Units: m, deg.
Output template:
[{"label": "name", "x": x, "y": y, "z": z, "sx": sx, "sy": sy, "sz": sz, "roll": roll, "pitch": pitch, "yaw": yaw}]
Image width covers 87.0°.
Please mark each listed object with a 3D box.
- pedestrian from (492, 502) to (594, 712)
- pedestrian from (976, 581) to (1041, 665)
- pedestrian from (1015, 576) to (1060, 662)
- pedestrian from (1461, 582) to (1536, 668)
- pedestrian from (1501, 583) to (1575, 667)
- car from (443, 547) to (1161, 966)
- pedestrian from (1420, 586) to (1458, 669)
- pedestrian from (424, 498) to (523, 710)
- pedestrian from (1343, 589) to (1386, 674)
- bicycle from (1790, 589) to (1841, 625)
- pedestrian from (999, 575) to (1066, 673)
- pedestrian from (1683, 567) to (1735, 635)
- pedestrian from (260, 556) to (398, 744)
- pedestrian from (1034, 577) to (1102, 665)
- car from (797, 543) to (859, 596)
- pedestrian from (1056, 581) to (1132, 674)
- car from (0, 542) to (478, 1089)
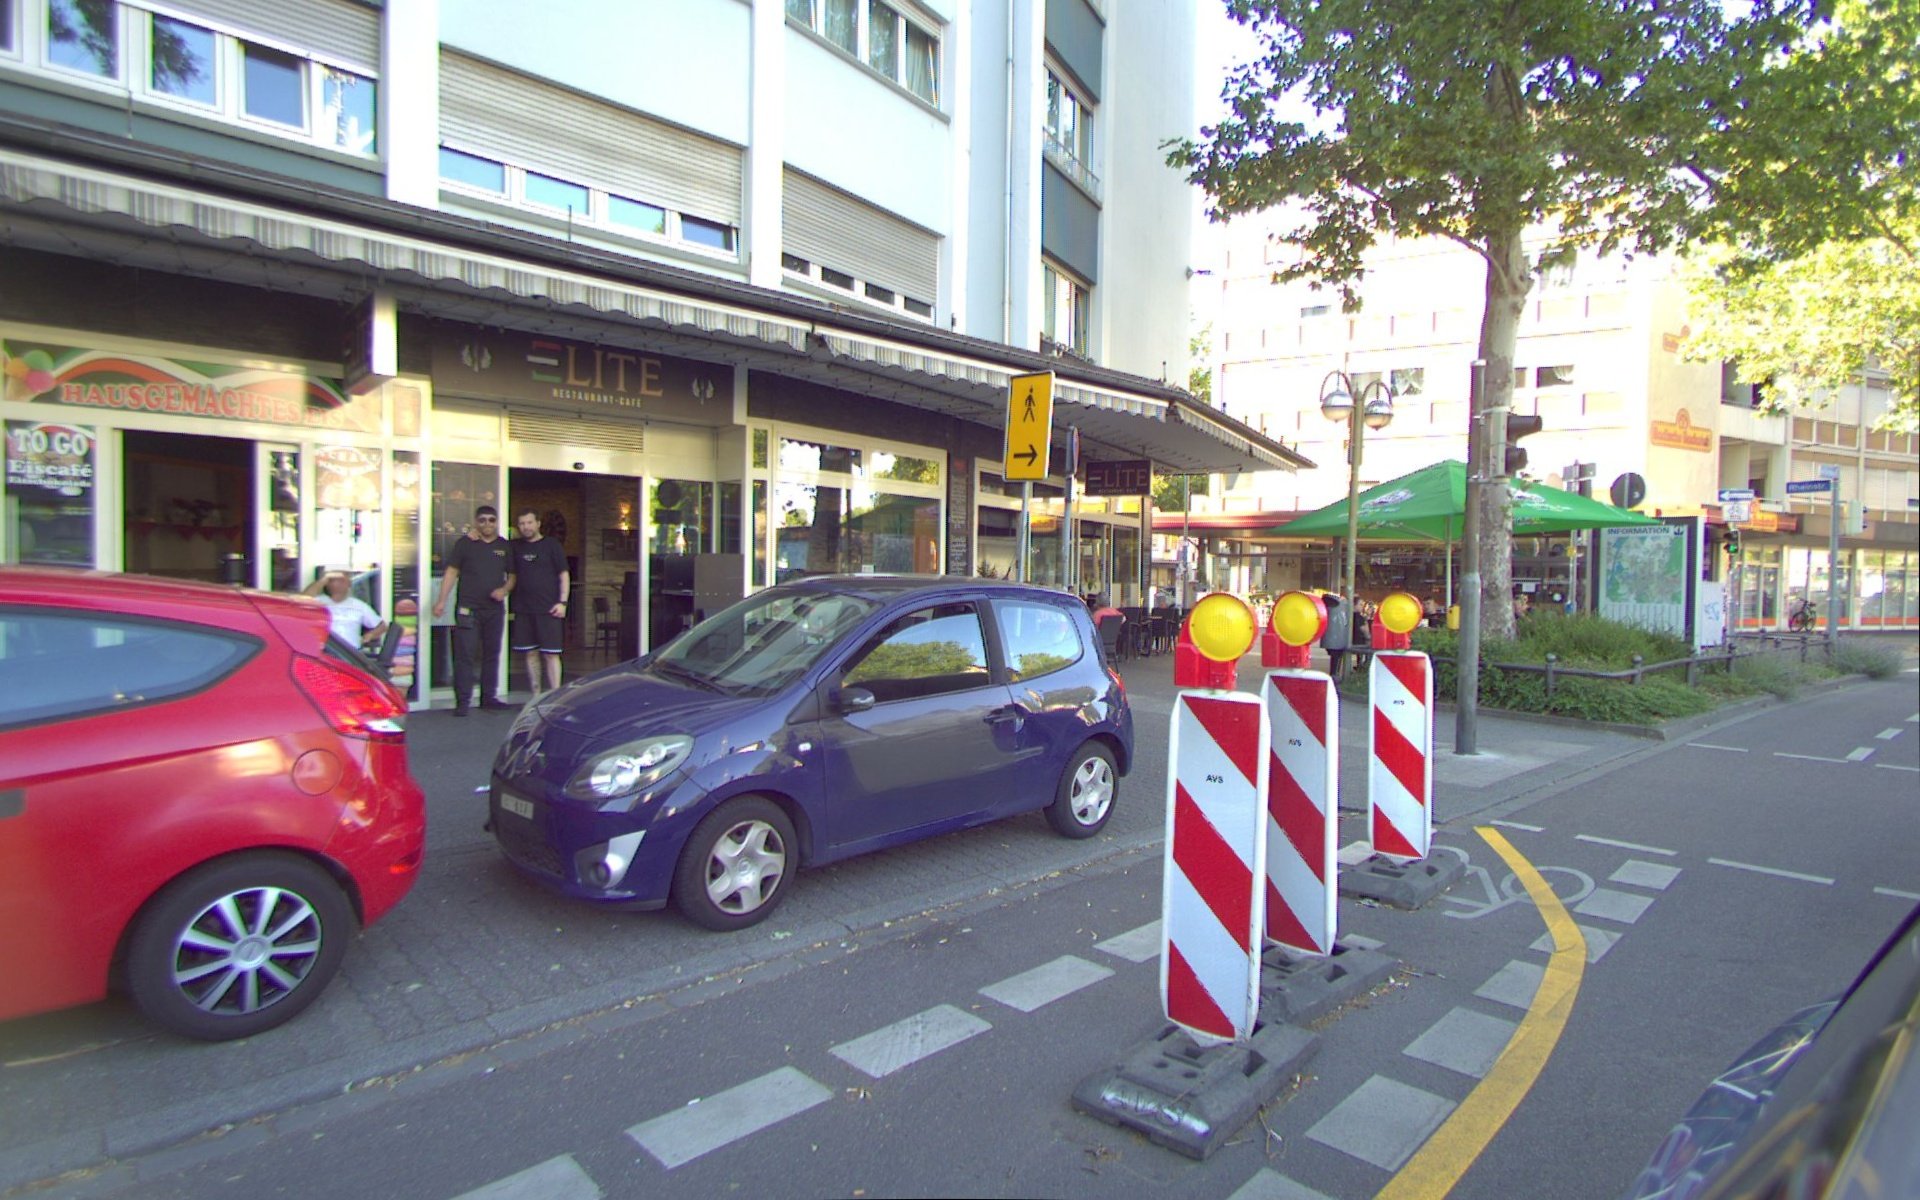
[{"label": "pedestrian", "x": -3.714, "y": 0.042, "z": 9.008, "sx": 0.635, "sy": 1.780, "sz": 0.611, "roll": 1, "pitch": 3, "yaw": -40}, {"label": "pedestrian", "x": 0.703, "y": 0.320, "z": 14.658, "sx": 0.710, "sy": 1.144, "sz": 0.645, "roll": 3, "pitch": 1, "yaw": 25}, {"label": "pedestrian", "x": 1.165, "y": 0.273, "z": 15.280, "sx": 0.541, "sy": 1.259, "sz": 0.521, "roll": 2, "pitch": 1, "yaw": -7}, {"label": "pedestrian", "x": 8.418, "y": 0.371, "z": 15.824, "sx": 0.752, "sy": 1.301, "sz": 0.721, "roll": 0, "pitch": 1, "yaw": -27}, {"label": "pedestrian", "x": 9.268, "y": 0.381, "z": 16.226, "sx": 0.753, "sy": 1.301, "sz": 0.720, "roll": 0, "pitch": 1, "yaw": -28}, {"label": "car", "x": -0.643, "y": 0.531, "z": 5.500, "sx": 3.545, "sy": 1.484, "sz": 1.621, "roll": 0, "pitch": 4, "yaw": -44}, {"label": "pedestrian", "x": 7.455, "y": 0.418, "z": 15.773, "sx": 0.427, "sy": 1.234, "sz": 0.465, "roll": 3, "pitch": 2, "yaw": 20}, {"label": "pedestrian", "x": -4.235, "y": 0.017, "z": 8.804, "sx": 0.587, "sy": 1.756, "sz": 0.589, "roll": 1, "pitch": 3, "yaw": -42}, {"label": "pedestrian", "x": 5.974, "y": 0.451, "z": 14.962, "sx": 0.460, "sy": 1.235, "sz": 0.432, "roll": 1, "pitch": 0, "yaw": 5}, {"label": "bicycle", "x": 28.124, "y": 0.216, "z": 33.257, "sx": 1.933, "sy": 1.157, "sz": 0.530, "roll": 0, "pitch": 1, "yaw": -26}, {"label": "pedestrian", "x": 0.992, "y": 0.314, "z": 13.754, "sx": 0.644, "sy": 1.267, "sz": 0.711, "roll": 3, "pitch": 1, "yaw": 25}, {"label": "pedestrian", "x": 20.140, "y": 0.020, "z": 27.216, "sx": 0.883, "sy": 1.779, "sz": 0.751, "roll": 0, "pitch": 1, "yaw": -24}, {"label": "pedestrian", "x": -4.823, "y": 0.320, "z": 7.713, "sx": 0.765, "sy": 1.247, "sz": 1.207, "roll": -1, "pitch": 5, "yaw": -38}, {"label": "pedestrian", "x": 1.587, "y": 0.297, "z": 14.920, "sx": 0.664, "sy": 1.233, "sz": 0.706, "roll": 3, "pitch": 1, "yaw": 43}, {"label": "car", "x": -4.652, "y": -1.067, "z": 36.168, "sx": 1.960, "sy": 1.771, "sz": 4.004, "roll": 1, "pitch": 1, "yaw": -5}, {"label": "pedestrian", "x": 1.856, "y": 0.366, "z": 14.029, "sx": 0.838, "sy": 1.213, "sz": 0.644, "roll": 3, "pitch": 1, "yaw": 27}, {"label": "car", "x": -3.643, "y": 0.563, "z": 2.854, "sx": 1.667, "sy": 1.446, "sz": 3.786, "roll": 5, "pitch": 4, "yaw": 44}]
